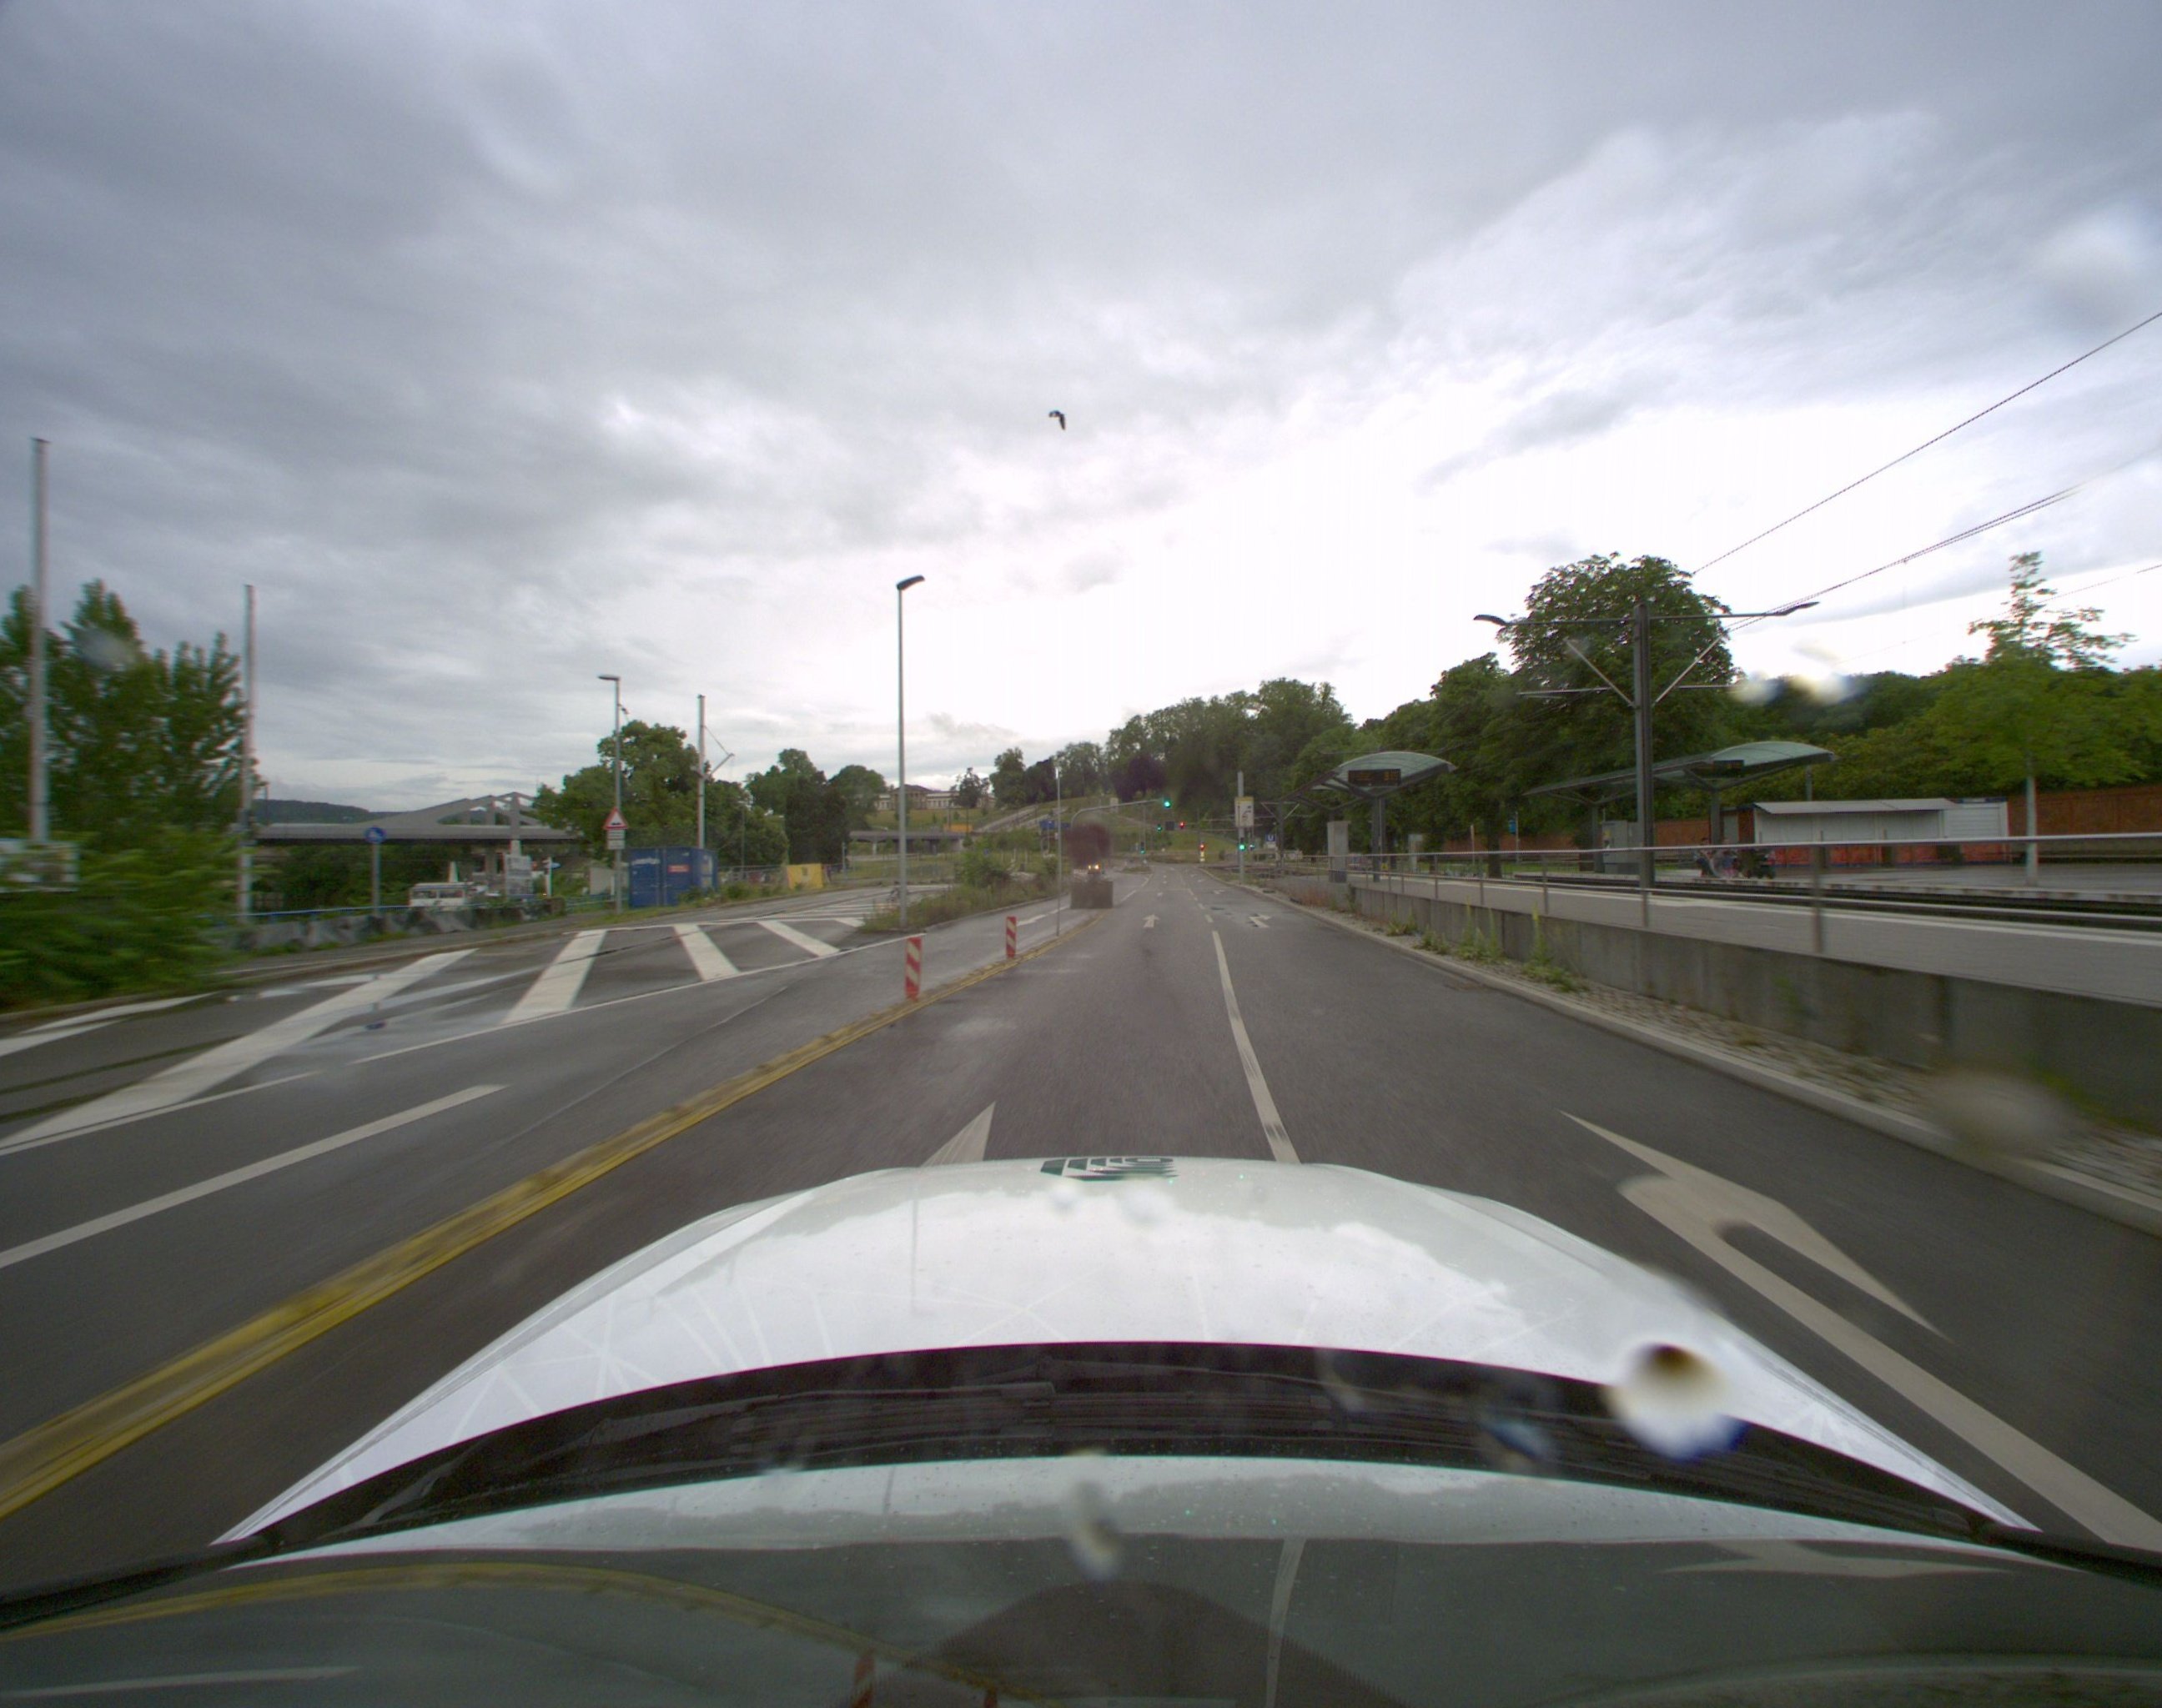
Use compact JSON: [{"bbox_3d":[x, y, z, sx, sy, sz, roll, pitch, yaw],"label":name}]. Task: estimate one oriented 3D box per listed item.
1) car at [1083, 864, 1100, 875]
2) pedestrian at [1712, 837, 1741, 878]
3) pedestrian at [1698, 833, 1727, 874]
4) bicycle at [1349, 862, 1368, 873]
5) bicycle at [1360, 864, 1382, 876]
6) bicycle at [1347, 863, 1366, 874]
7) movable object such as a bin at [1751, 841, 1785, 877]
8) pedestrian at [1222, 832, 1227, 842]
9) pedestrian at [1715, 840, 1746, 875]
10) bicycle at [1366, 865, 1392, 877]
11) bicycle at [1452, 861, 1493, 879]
[{"bbox_3d":[1.466,2.305,118.517,1.589,1.491,3.698,-4,0,-12],"label":"car"},{"bbox_3d":[19.902,0.090,25.110,0.434,1.226,0.552,-3,0,7],"label":"pedestrian"},{"bbox_3d":[19.278,-0.011,24.875,0.434,1.226,0.552,-3,0,7],"label":"pedestrian"},{"bbox_3d":[29.058,1.400,85.262,1.802,1.032,0.653,-3,1,4],"label":"bicycle"},{"bbox_3d":[28.463,1.534,79.910,1.838,1.032,0.653,-3,1,4],"label":"bicycle"},{"bbox_3d":[28.510,1.465,84.273,1.802,1.032,0.653,-3,1,4],"label":"bicycle"},{"bbox_3d":[20.153,0.133,23.902,0.434,1.009,0.683,-3,0,7],"label":"movable object such as a bin"},{"bbox_3d":[32.750,-3.877,185.936,0.788,2.012,0.655,-7,6,-10],"label":"pedestrian"},{"bbox_3d":[19.229,0.108,24.115,0.434,1.009,0.552,-3,0,7],"label":"pedestrian"},{"bbox_3d":[28.280,1.590,77.293,2.213,1.032,0.690,-3,1,4],"label":"bicycle"},{"bbox_3d":[25.261,1.037,52.587,2.311,0.957,0.571,-4,0,4],"label":"bicycle"}]
